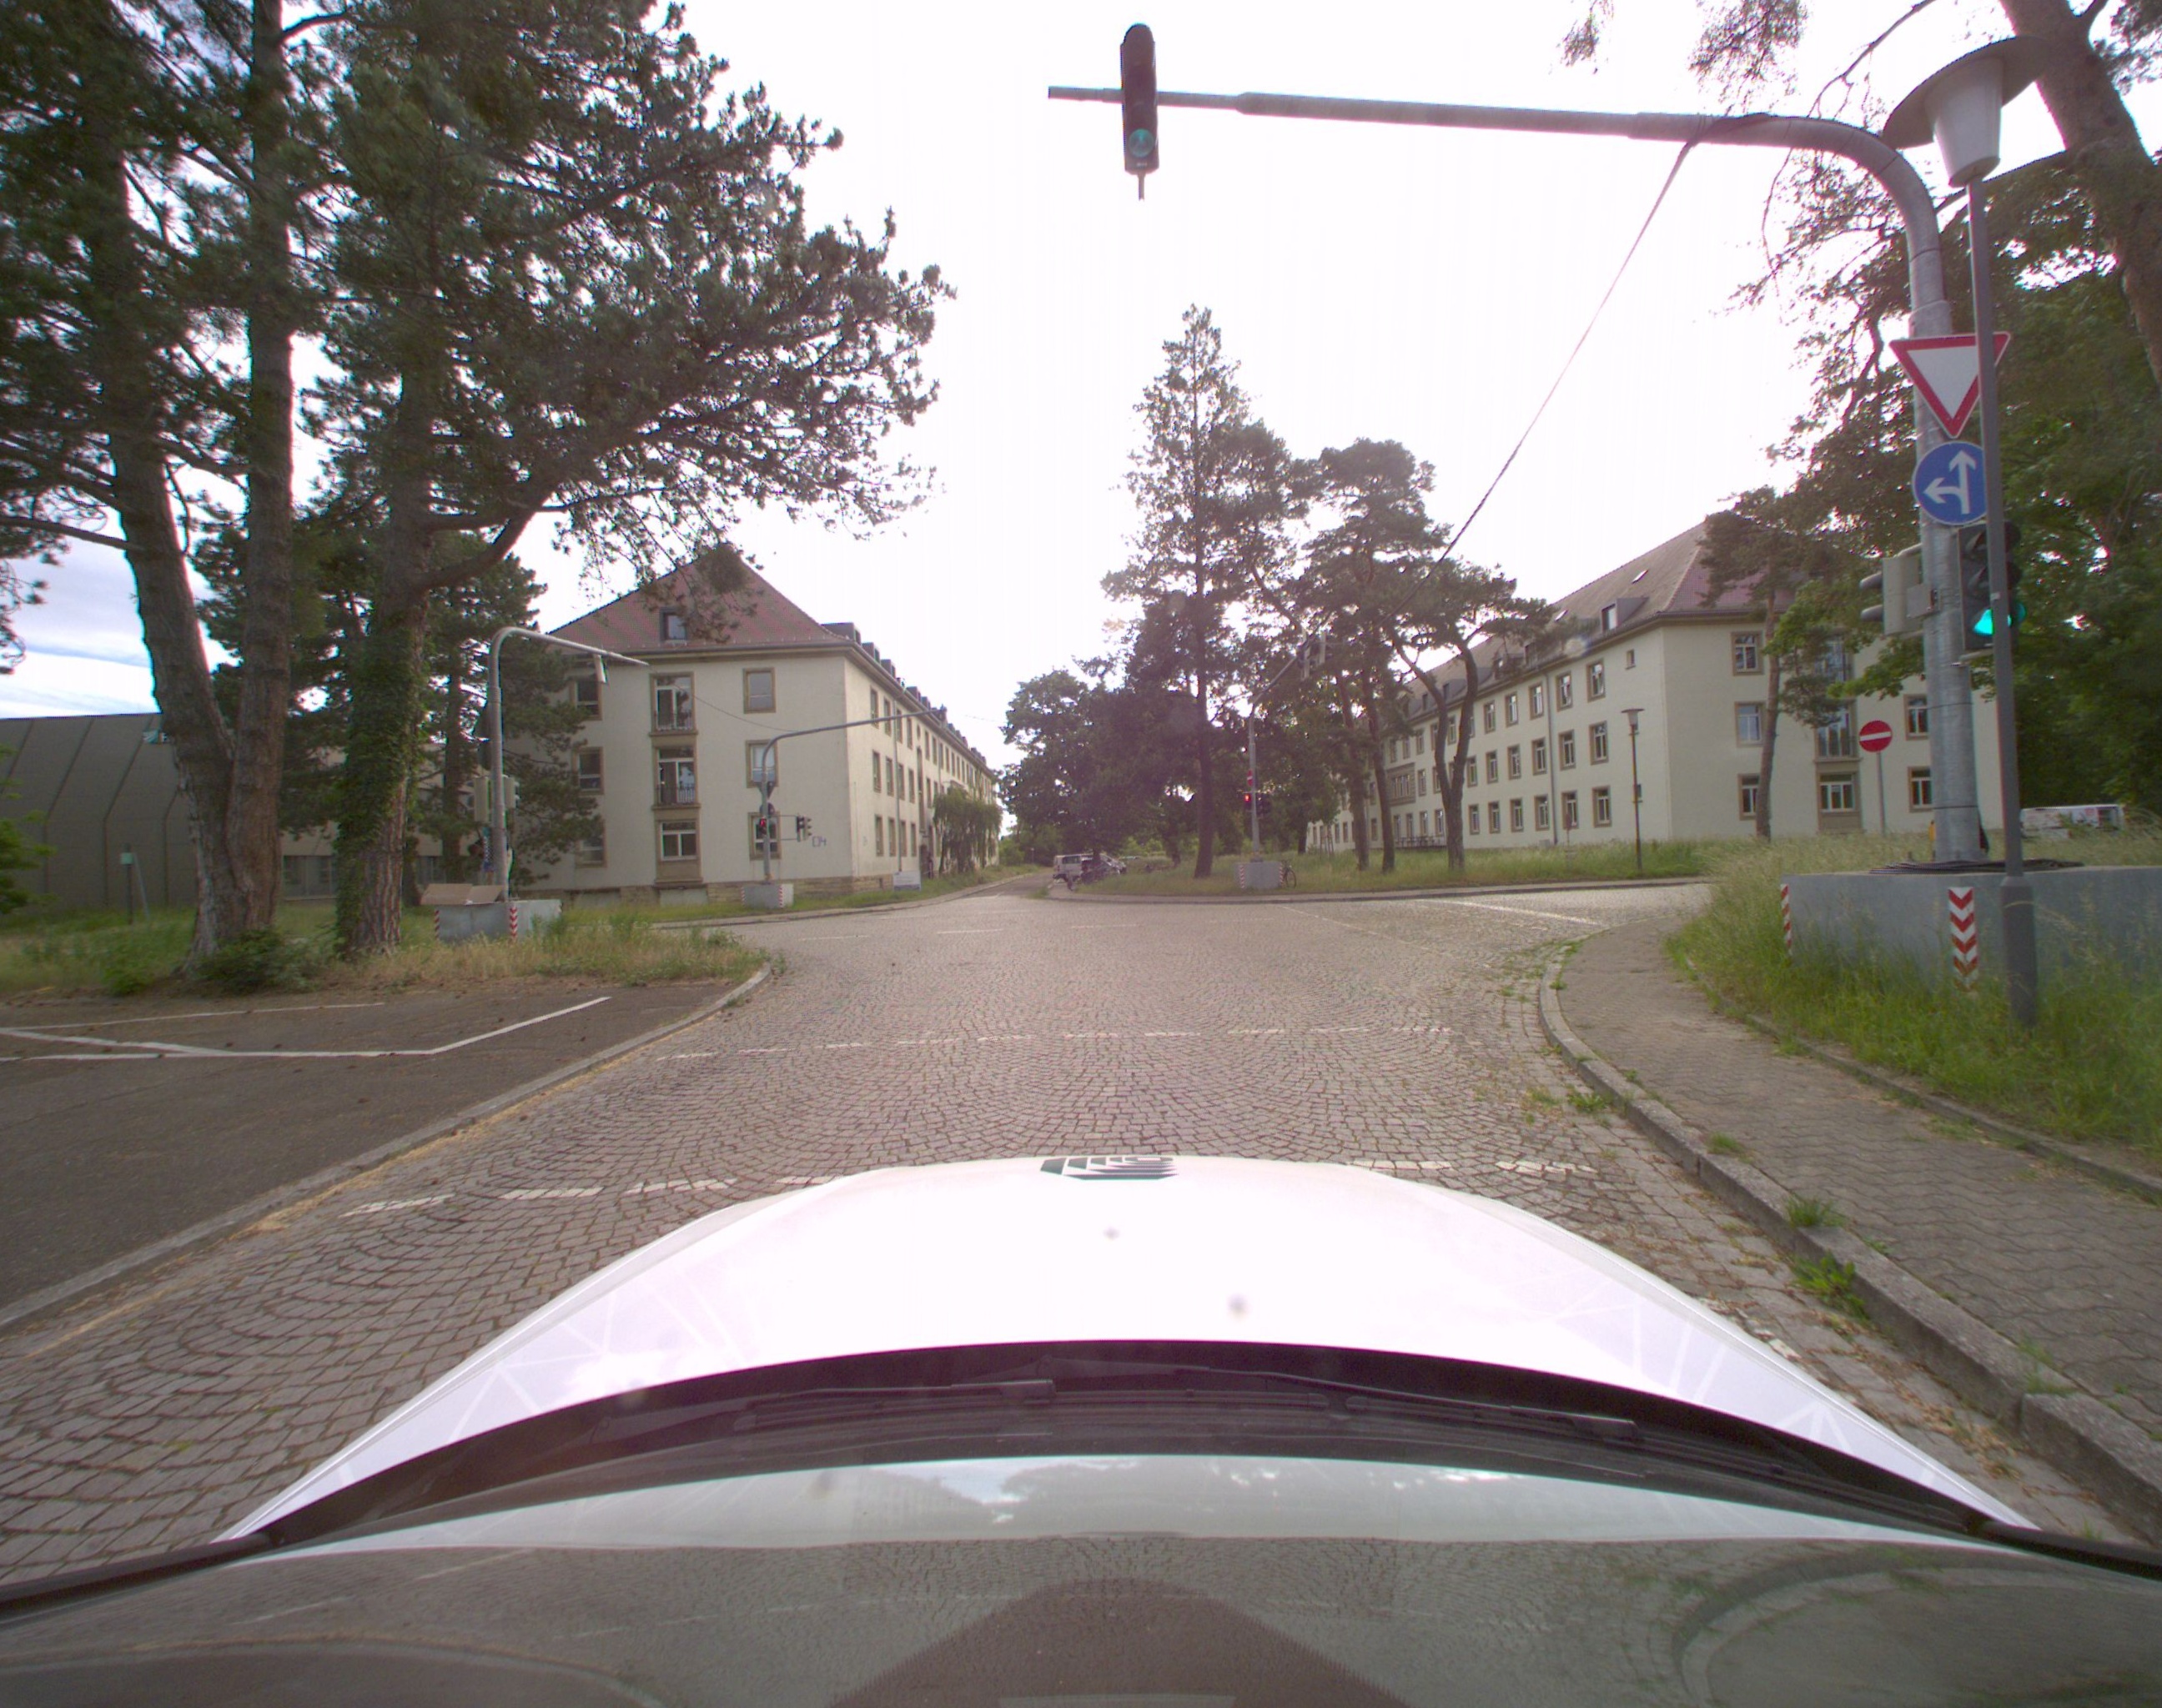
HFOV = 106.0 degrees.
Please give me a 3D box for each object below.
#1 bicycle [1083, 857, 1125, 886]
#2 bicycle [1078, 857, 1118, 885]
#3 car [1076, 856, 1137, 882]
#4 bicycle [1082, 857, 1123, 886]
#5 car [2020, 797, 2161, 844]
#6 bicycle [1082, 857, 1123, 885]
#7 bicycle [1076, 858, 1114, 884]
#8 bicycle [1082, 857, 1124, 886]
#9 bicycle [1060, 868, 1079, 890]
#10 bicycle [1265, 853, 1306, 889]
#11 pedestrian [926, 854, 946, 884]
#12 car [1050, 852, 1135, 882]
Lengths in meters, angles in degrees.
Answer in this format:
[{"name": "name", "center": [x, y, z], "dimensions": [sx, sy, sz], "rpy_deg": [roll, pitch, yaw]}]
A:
[{"name": "bicycle", "center": [1.149, 0.865, 40.685], "dimensions": [2.062, 1.378, 0.620], "rpy_deg": [-2, -1, 0]}, {"name": "bicycle", "center": [0.906, 0.905, 43.575], "dimensions": [2.062, 1.378, 0.620], "rpy_deg": [-2, -1, 0]}, {"name": "car", "center": [1.690, 1.020, 55.205], "dimensions": [3.925, 1.544, 1.997], "rpy_deg": [-2, -1, -5]}, {"name": "bicycle", "center": [1.112, 0.883, 41.981], "dimensions": [2.062, 1.378, 0.620], "rpy_deg": [-2, -1, 0]}, {"name": "car", "center": [56.065, -1.809, 45.219], "dimensions": [5.161, 2.288, 2.214], "rpy_deg": [-2, -1, 1]}, {"name": "bicycle", "center": [1.126, 0.894, 42.777], "dimensions": [2.062, 1.378, 0.620], "rpy_deg": [-2, -1, 0]}, {"name": "bicycle", "center": [0.781, 0.929, 45.060], "dimensions": [2.062, 1.378, 0.620], "rpy_deg": [-2, -1, 0]}, {"name": "bicycle", "center": [1.111, 0.874, 41.356], "dimensions": [2.062, 1.378, 0.620], "rpy_deg": [-2, -1, 0]}, {"name": "bicycle", "center": [-0.543, 1.198, 38.883], "dimensions": [0.614, 0.963, 2.081], "rpy_deg": [-3, 0, 7]}, {"name": "bicycle", "center": [7.120, 0.584, 28.423], "dimensions": [0.906, 1.177, 1.874], "rpy_deg": [-2, -1, -1]}, {"name": "pedestrian", "center": [-10.001, 1.051, 56.171], "dimensions": [1.082, 2.014, 1.023], "rpy_deg": [-2, -1, 5]}, {"name": "car", "center": [0.819, 0.935, 58.575], "dimensions": [5.697, 1.910, 2.221], "rpy_deg": [-2, -1, -12]}]
